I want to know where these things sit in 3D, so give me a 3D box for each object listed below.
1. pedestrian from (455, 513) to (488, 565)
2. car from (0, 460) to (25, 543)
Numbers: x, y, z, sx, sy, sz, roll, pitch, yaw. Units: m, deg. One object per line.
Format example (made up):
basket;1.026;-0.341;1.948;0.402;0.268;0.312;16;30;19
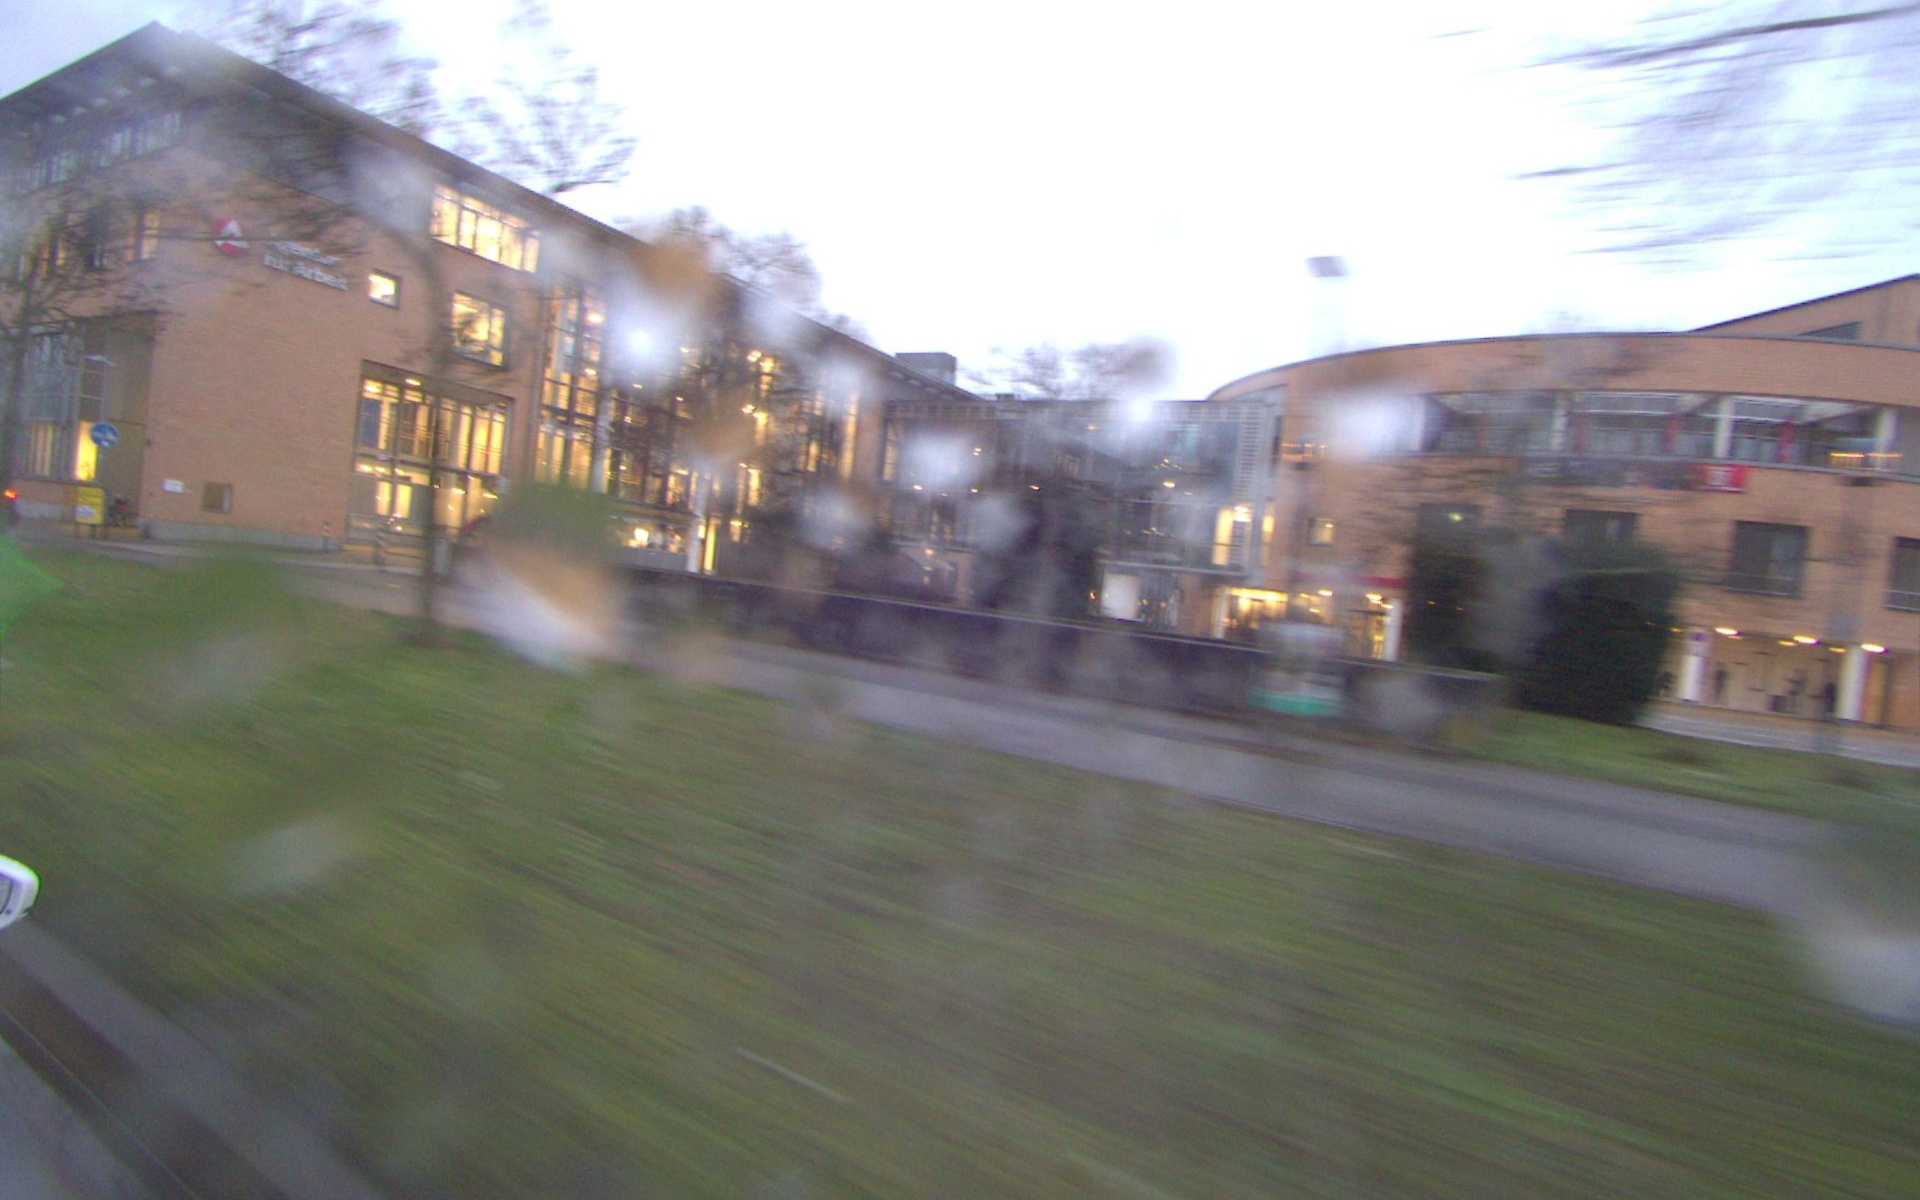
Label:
pedestrian;-16.593;-2.071;34.186;0.726;1.659;0.630;8;3;38
car;-20.281;-2.045;18.763;1.737;1.582;3.857;8;3;33
